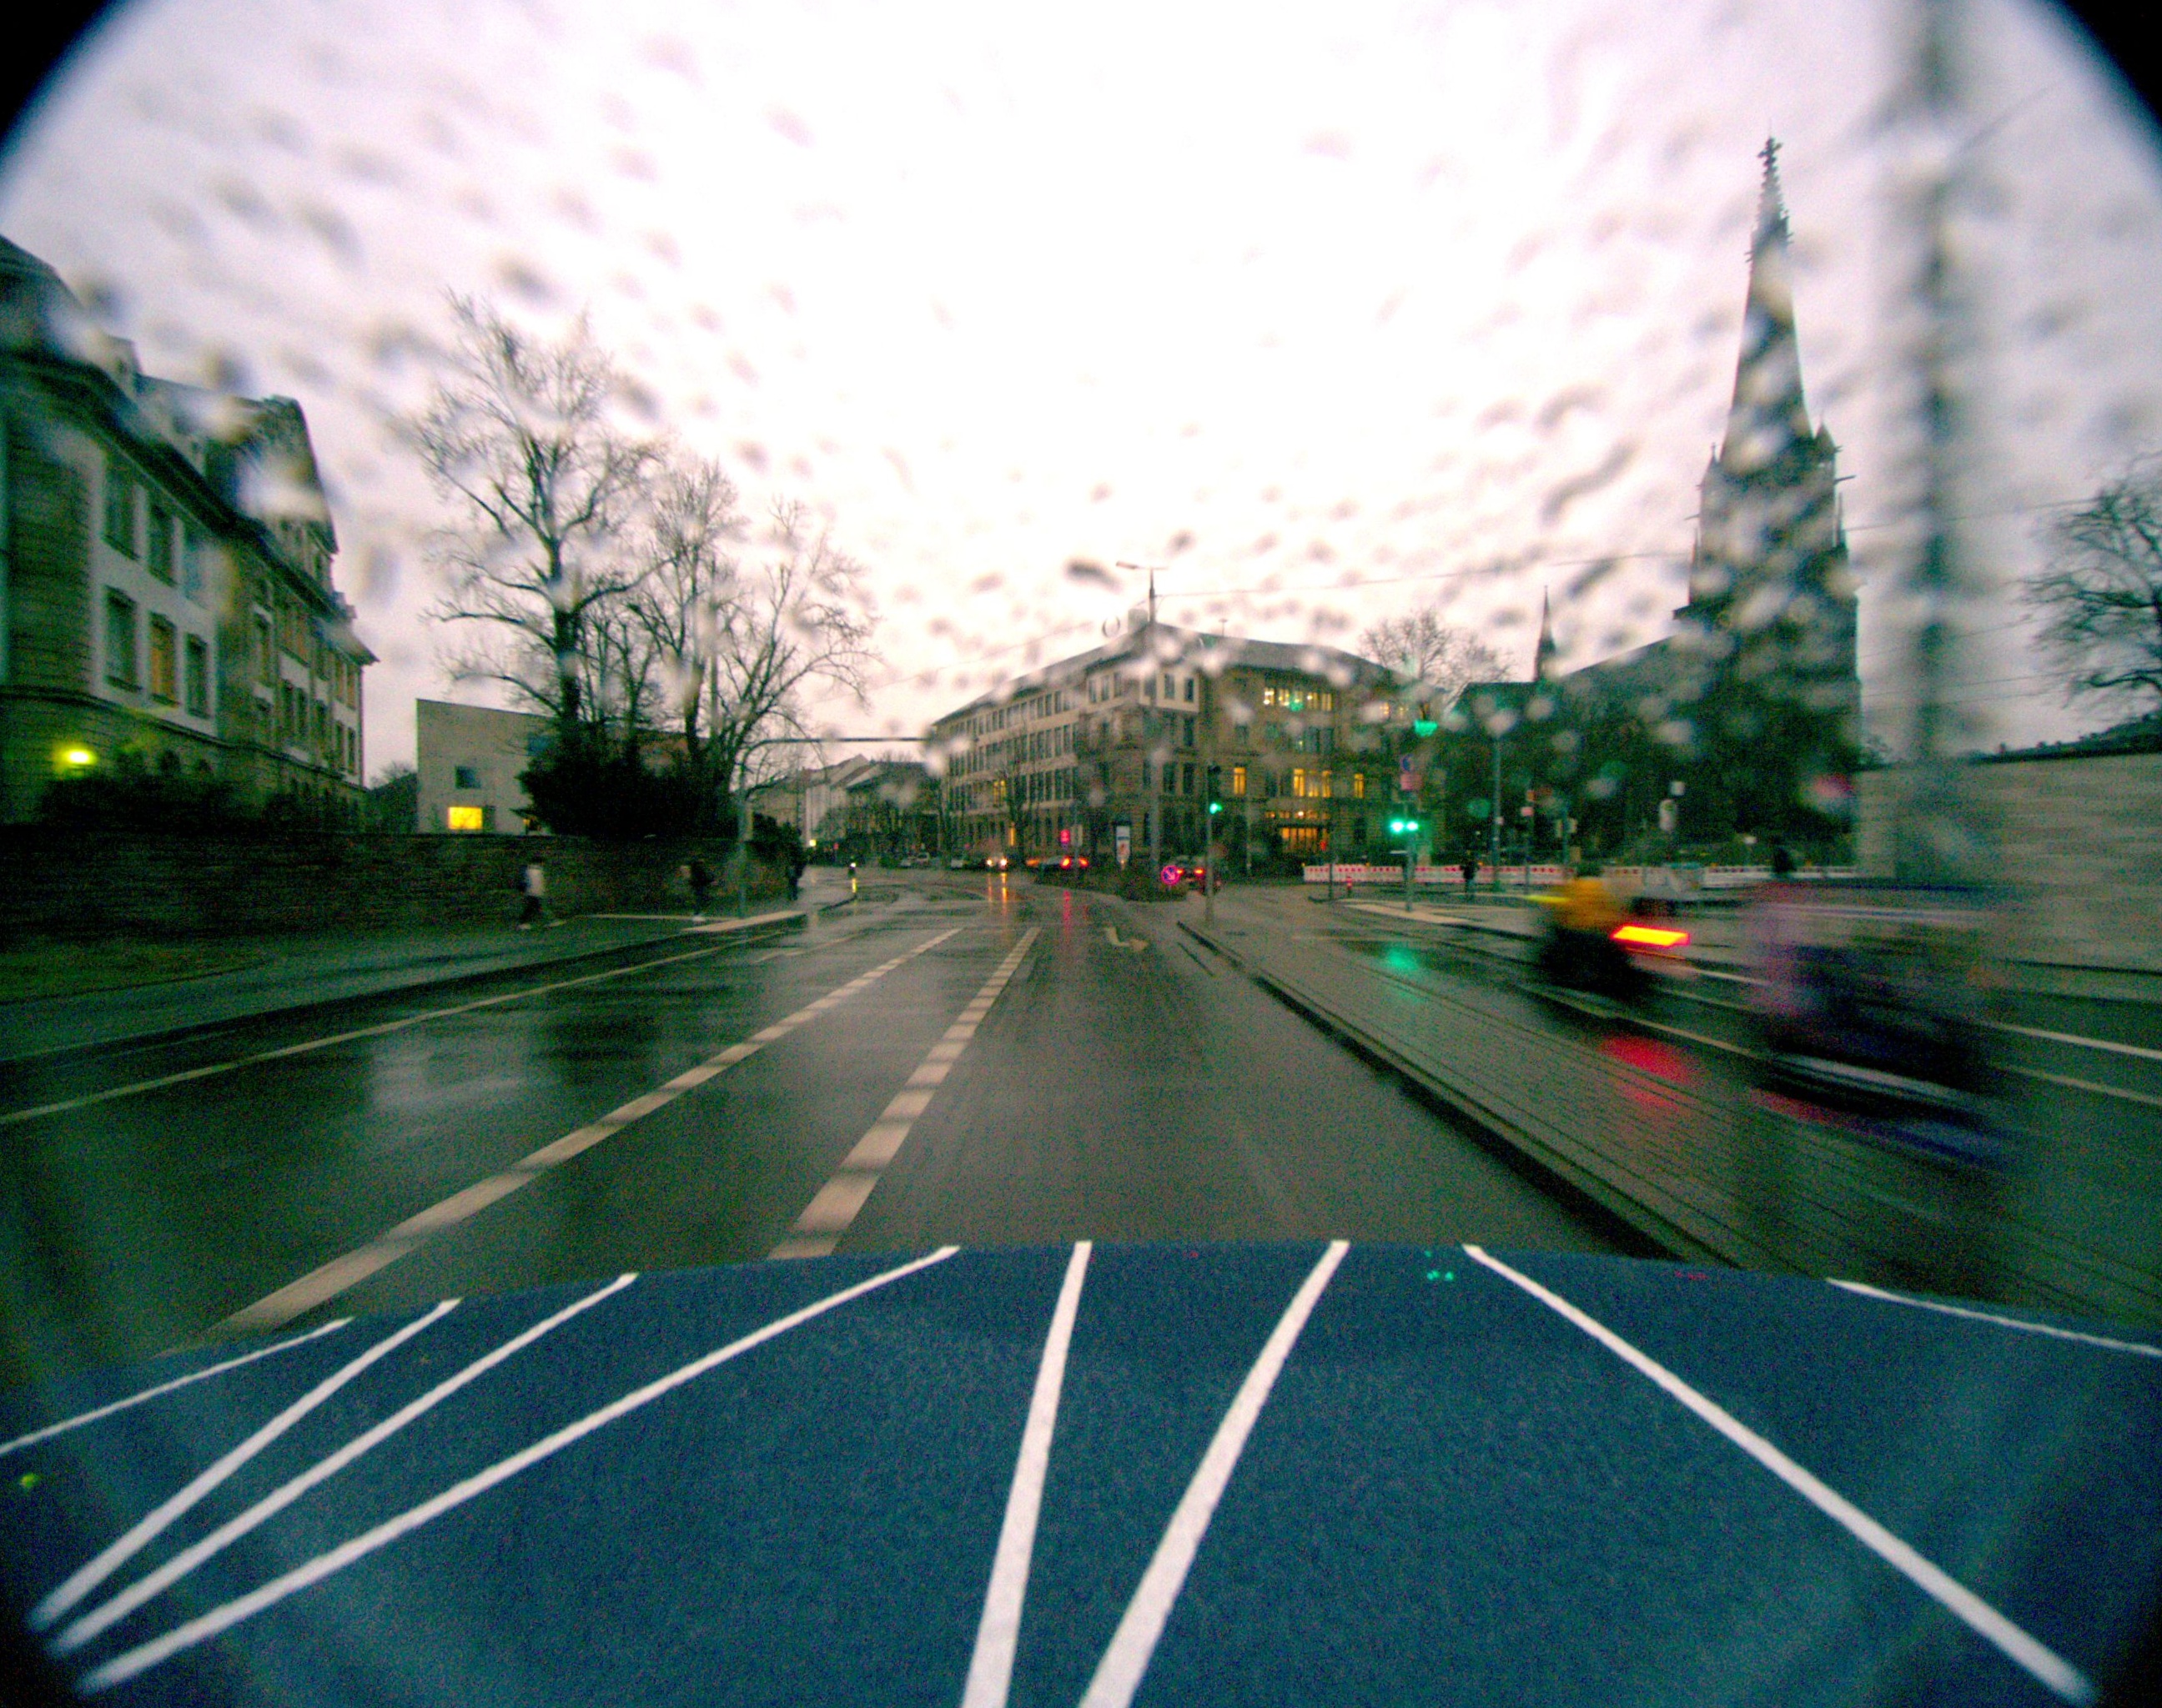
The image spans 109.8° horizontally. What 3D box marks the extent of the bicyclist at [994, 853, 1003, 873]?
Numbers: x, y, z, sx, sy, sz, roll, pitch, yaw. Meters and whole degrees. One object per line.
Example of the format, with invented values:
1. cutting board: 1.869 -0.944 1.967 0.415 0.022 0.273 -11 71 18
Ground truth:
1. bicyclist: -7.386 0.826 68.401 0.611 1.758 0.589 -1 3 10

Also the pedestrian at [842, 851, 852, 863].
1. pedestrian: -35.240 0.413 114.326 0.945 1.694 0.925 0 3 33

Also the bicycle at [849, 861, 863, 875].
1. bicycle: -18.433 1.149 62.211 0.725 1.084 2.280 -2 0 -27

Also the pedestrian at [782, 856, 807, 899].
1. pedestrian: -11.545 0.942 30.663 0.808 1.675 1.155 1 0 -16

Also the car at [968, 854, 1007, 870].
1. car: -9.908 0.879 81.044 1.795 1.449 4.484 -1 2 30

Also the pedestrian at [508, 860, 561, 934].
1. pedestrian: -12.718 0.972 17.683 0.964 1.665 0.777 0 1 -38

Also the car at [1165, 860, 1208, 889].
1. car: 5.335 0.993 38.756 1.751 1.370 4.367 1 0 3

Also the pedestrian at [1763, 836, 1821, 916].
1. pedestrian: 16.523 0.491 17.675 0.605 1.803 0.823 -3 3 -27

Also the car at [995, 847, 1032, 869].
1. car: -6.693 0.371 75.994 1.908 2.022 4.809 -1 2 19

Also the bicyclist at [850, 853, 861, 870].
1. bicyclist: -18.444 0.576 62.071 0.718 1.335 0.718 -3 3 -27

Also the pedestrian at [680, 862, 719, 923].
1. pedestrian: -10.575 1.054 21.075 0.792 1.665 0.729 1 1 -13

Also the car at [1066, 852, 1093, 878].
1. car: -0.136 0.719 52.244 1.758 1.652 4.530 1 0 0

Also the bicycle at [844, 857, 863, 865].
1. bicycle: -30.036 0.896 100.245 2.125 0.939 0.942 -3 3 -30

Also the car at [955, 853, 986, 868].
1. car: -12.417 0.753 85.327 1.633 1.449 3.831 -1 2 22

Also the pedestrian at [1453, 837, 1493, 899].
1. pedestrian: 15.414 0.517 29.909 0.996 2.357 1.063 -2 2 -4

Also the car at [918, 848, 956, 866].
1. car: -17.379 0.337 92.055 1.961 2.042 4.629 -1 2 29

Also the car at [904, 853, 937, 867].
1. car: -20.454 0.723 96.966 1.771 1.582 4.191 -1 2 27

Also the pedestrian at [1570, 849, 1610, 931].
1. pedestrian: 10.803 0.744 16.138 0.673 1.665 0.731 0 3 32

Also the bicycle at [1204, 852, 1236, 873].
1. bicycle: 11.148 0.683 60.850 2.424 1.679 0.714 -1 3 17

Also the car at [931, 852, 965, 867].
1. car: -15.582 0.608 89.464 1.819 1.531 3.983 -1 2 28

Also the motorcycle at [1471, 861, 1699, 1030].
1. motorcycle: 5.140 0.837 8.012 0.831 1.488 2.314 0 0 -1

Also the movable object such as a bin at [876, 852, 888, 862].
1. movable object such as a bin: -27.786 0.415 106.123 1.341 1.456 0.987 -1 2 18

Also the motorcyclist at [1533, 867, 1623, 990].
1. motorcyclist: 5.153 0.753 7.899 0.537 1.187 0.611 -2 2 1
